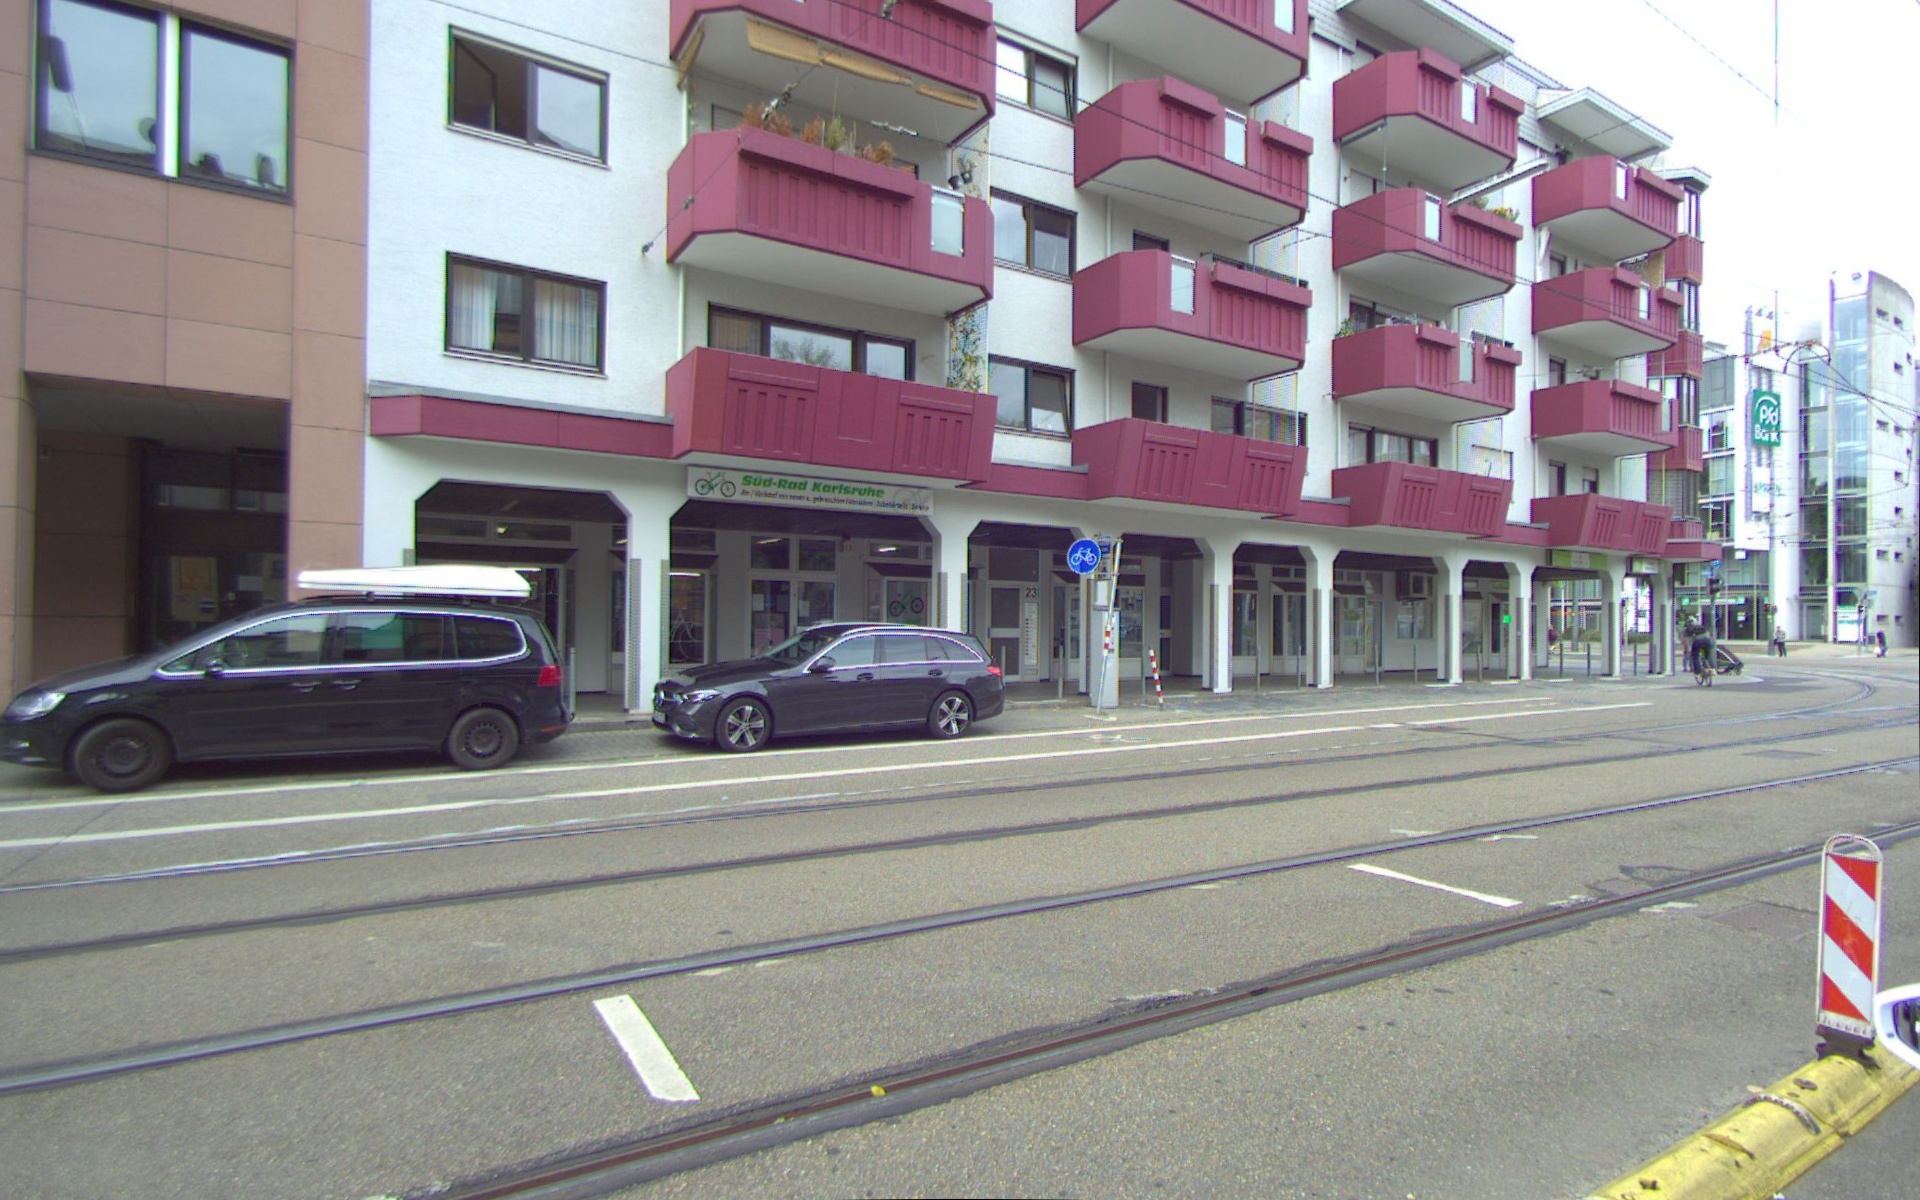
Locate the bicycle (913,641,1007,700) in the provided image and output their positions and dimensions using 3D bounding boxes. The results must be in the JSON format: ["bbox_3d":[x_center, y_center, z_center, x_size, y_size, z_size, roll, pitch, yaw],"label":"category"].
[{"bbox_3d":[0.015,1.193,17.346,1.636,0.966,0.560,1,-1,-39],"label":"bicycle"}]

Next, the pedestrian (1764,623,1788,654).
[{"bbox_3d":[49.413,2.314,60.812,0.754,1.889,0.833,1,-1,-17],"label":"pedestrian"}]

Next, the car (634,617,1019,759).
[{"bbox_3d":[-1.644,1.025,13.051,4.645,1.500,1.745,1,1,-32],"label":"car"}]

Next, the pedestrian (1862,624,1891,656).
[{"bbox_3d":[55.418,2.412,60.723,0.889,1.880,0.987,1,-1,-23],"label":"pedestrian"}]

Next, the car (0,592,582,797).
[{"bbox_3d":[-6.466,0.814,10.239,4.645,1.669,1.797,1,1,-32],"label":"car"}]

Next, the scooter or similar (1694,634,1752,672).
[{"bbox_3d":[23.912,1.644,31.484,0.936,1.143,1.189,1,0,-32],"label":"scooter or similar"}]

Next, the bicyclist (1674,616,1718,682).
[{"bbox_3d":[19.210,1.269,26.243,0.738,1.673,1.054,0,-1,26],"label":"bicyclist"}]

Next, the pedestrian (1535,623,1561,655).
[{"bbox_3d":[31.982,2.121,54.661,0.753,1.693,0.935,1,-1,-17],"label":"pedestrian"}]

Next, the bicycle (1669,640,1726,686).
[{"bbox_3d":[19.169,1.616,26.168,0.750,1.101,2.359,0,-1,25],"label":"bicycle"}]

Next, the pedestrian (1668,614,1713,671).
[{"bbox_3d":[23.426,1.351,32.223,0.803,1.766,0.942,1,-1,-33],"label":"pedestrian"}]
